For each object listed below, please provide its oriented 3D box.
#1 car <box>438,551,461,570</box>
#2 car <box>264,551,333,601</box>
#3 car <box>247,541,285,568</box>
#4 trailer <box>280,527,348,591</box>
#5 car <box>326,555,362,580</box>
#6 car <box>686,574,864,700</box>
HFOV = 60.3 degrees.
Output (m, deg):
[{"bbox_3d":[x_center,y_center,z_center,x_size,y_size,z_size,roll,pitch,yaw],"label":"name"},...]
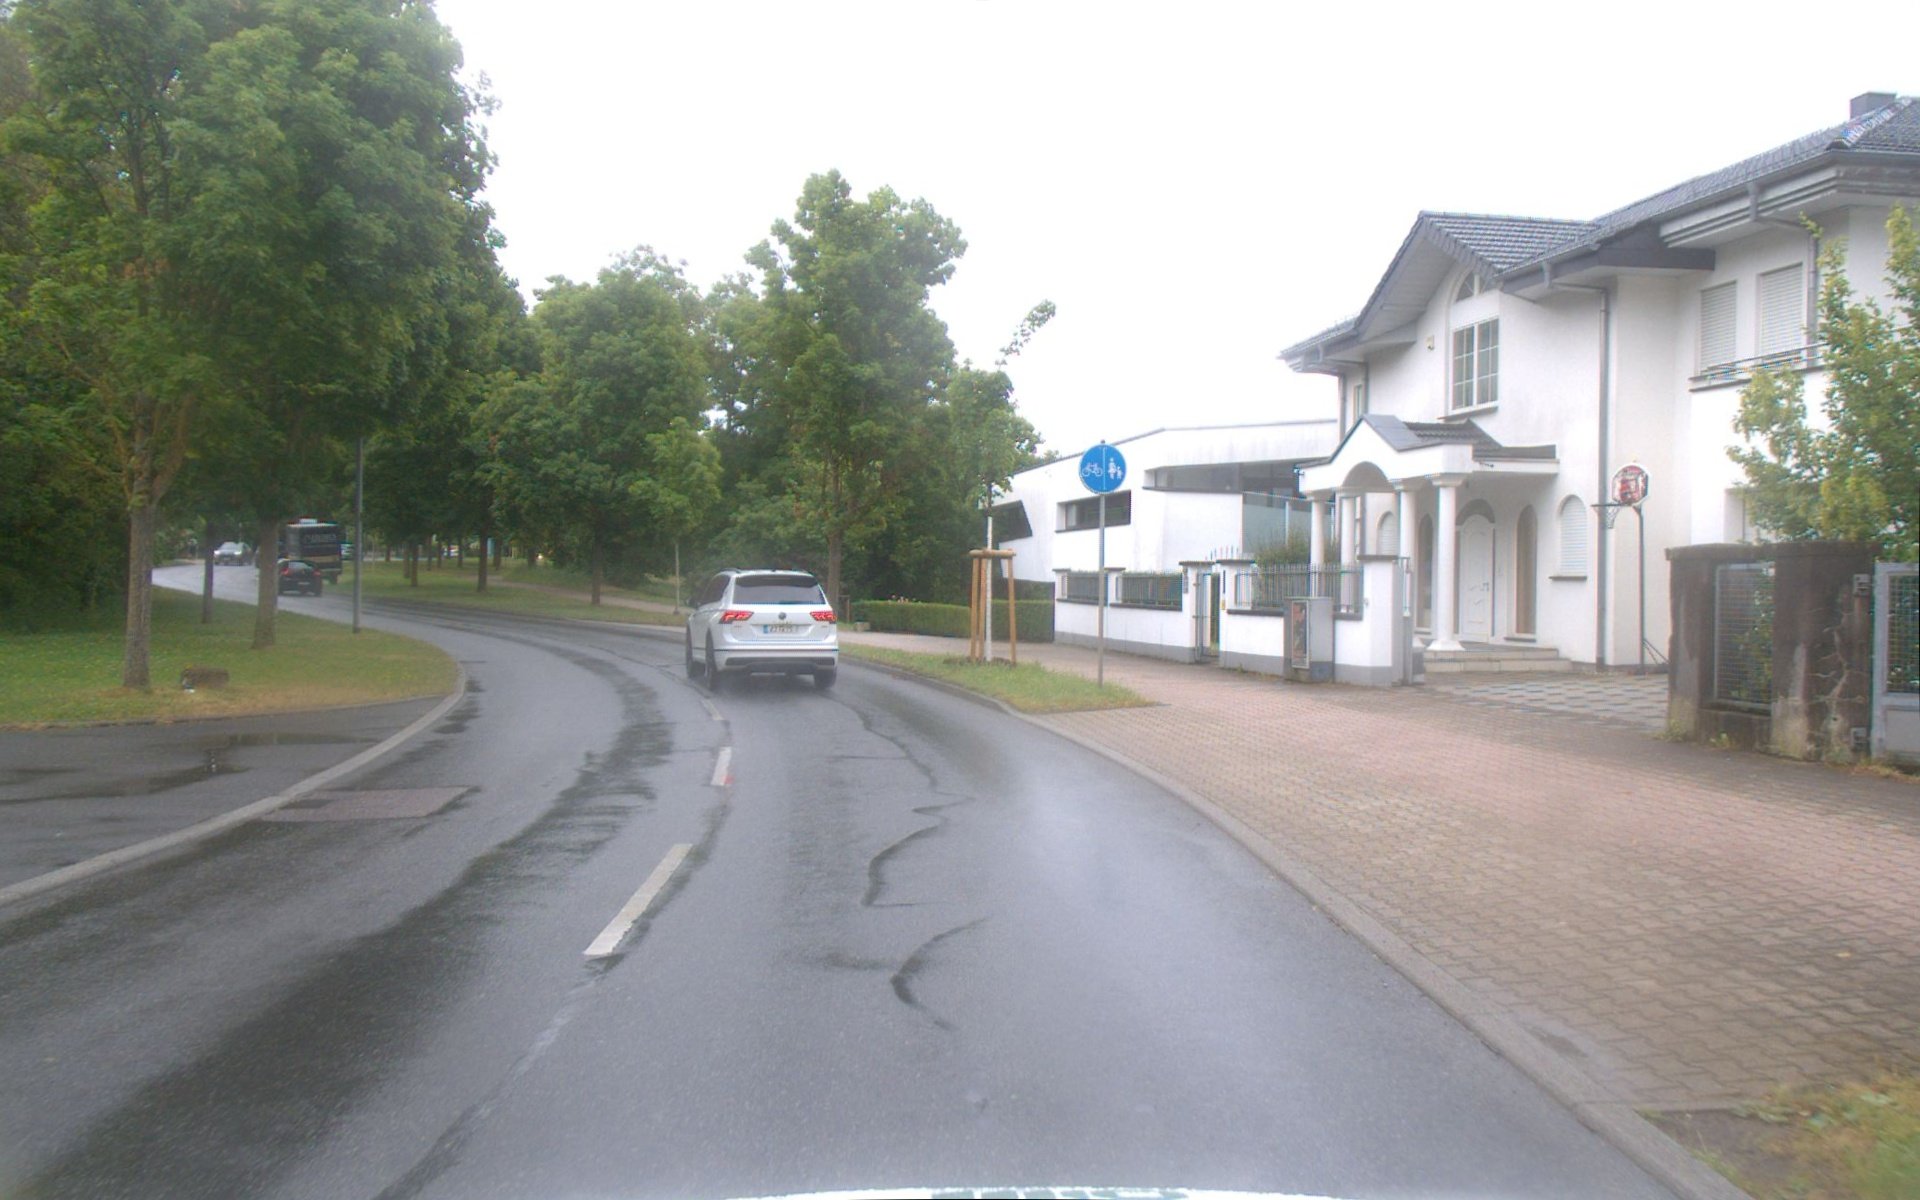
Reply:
[{"bbox_3d":[-52.968,-4.075,171.576,1.960,1.839,3.986,3,0,-14],"label":"car"},{"bbox_3d":[-27.606,-0.975,68.969,1.885,2.049,3.897,0,0,-34],"label":"car"},{"bbox_3d":[-46.053,-3.029,109.742,1.771,1.564,4.052,4,1,-30],"label":"car"},{"bbox_3d":[-30.875,-2.010,78.981,1.974,2.856,5.551,-5,5,-30],"label":"trailer"},{"bbox_3d":[-49.322,-2.620,132.488,1.957,1.836,3.991,3,0,-10],"label":"car"},{"bbox_3d":[-2.822,0.484,24.441,1.942,1.682,4.158,0,0,-16],"label":"car"}]
